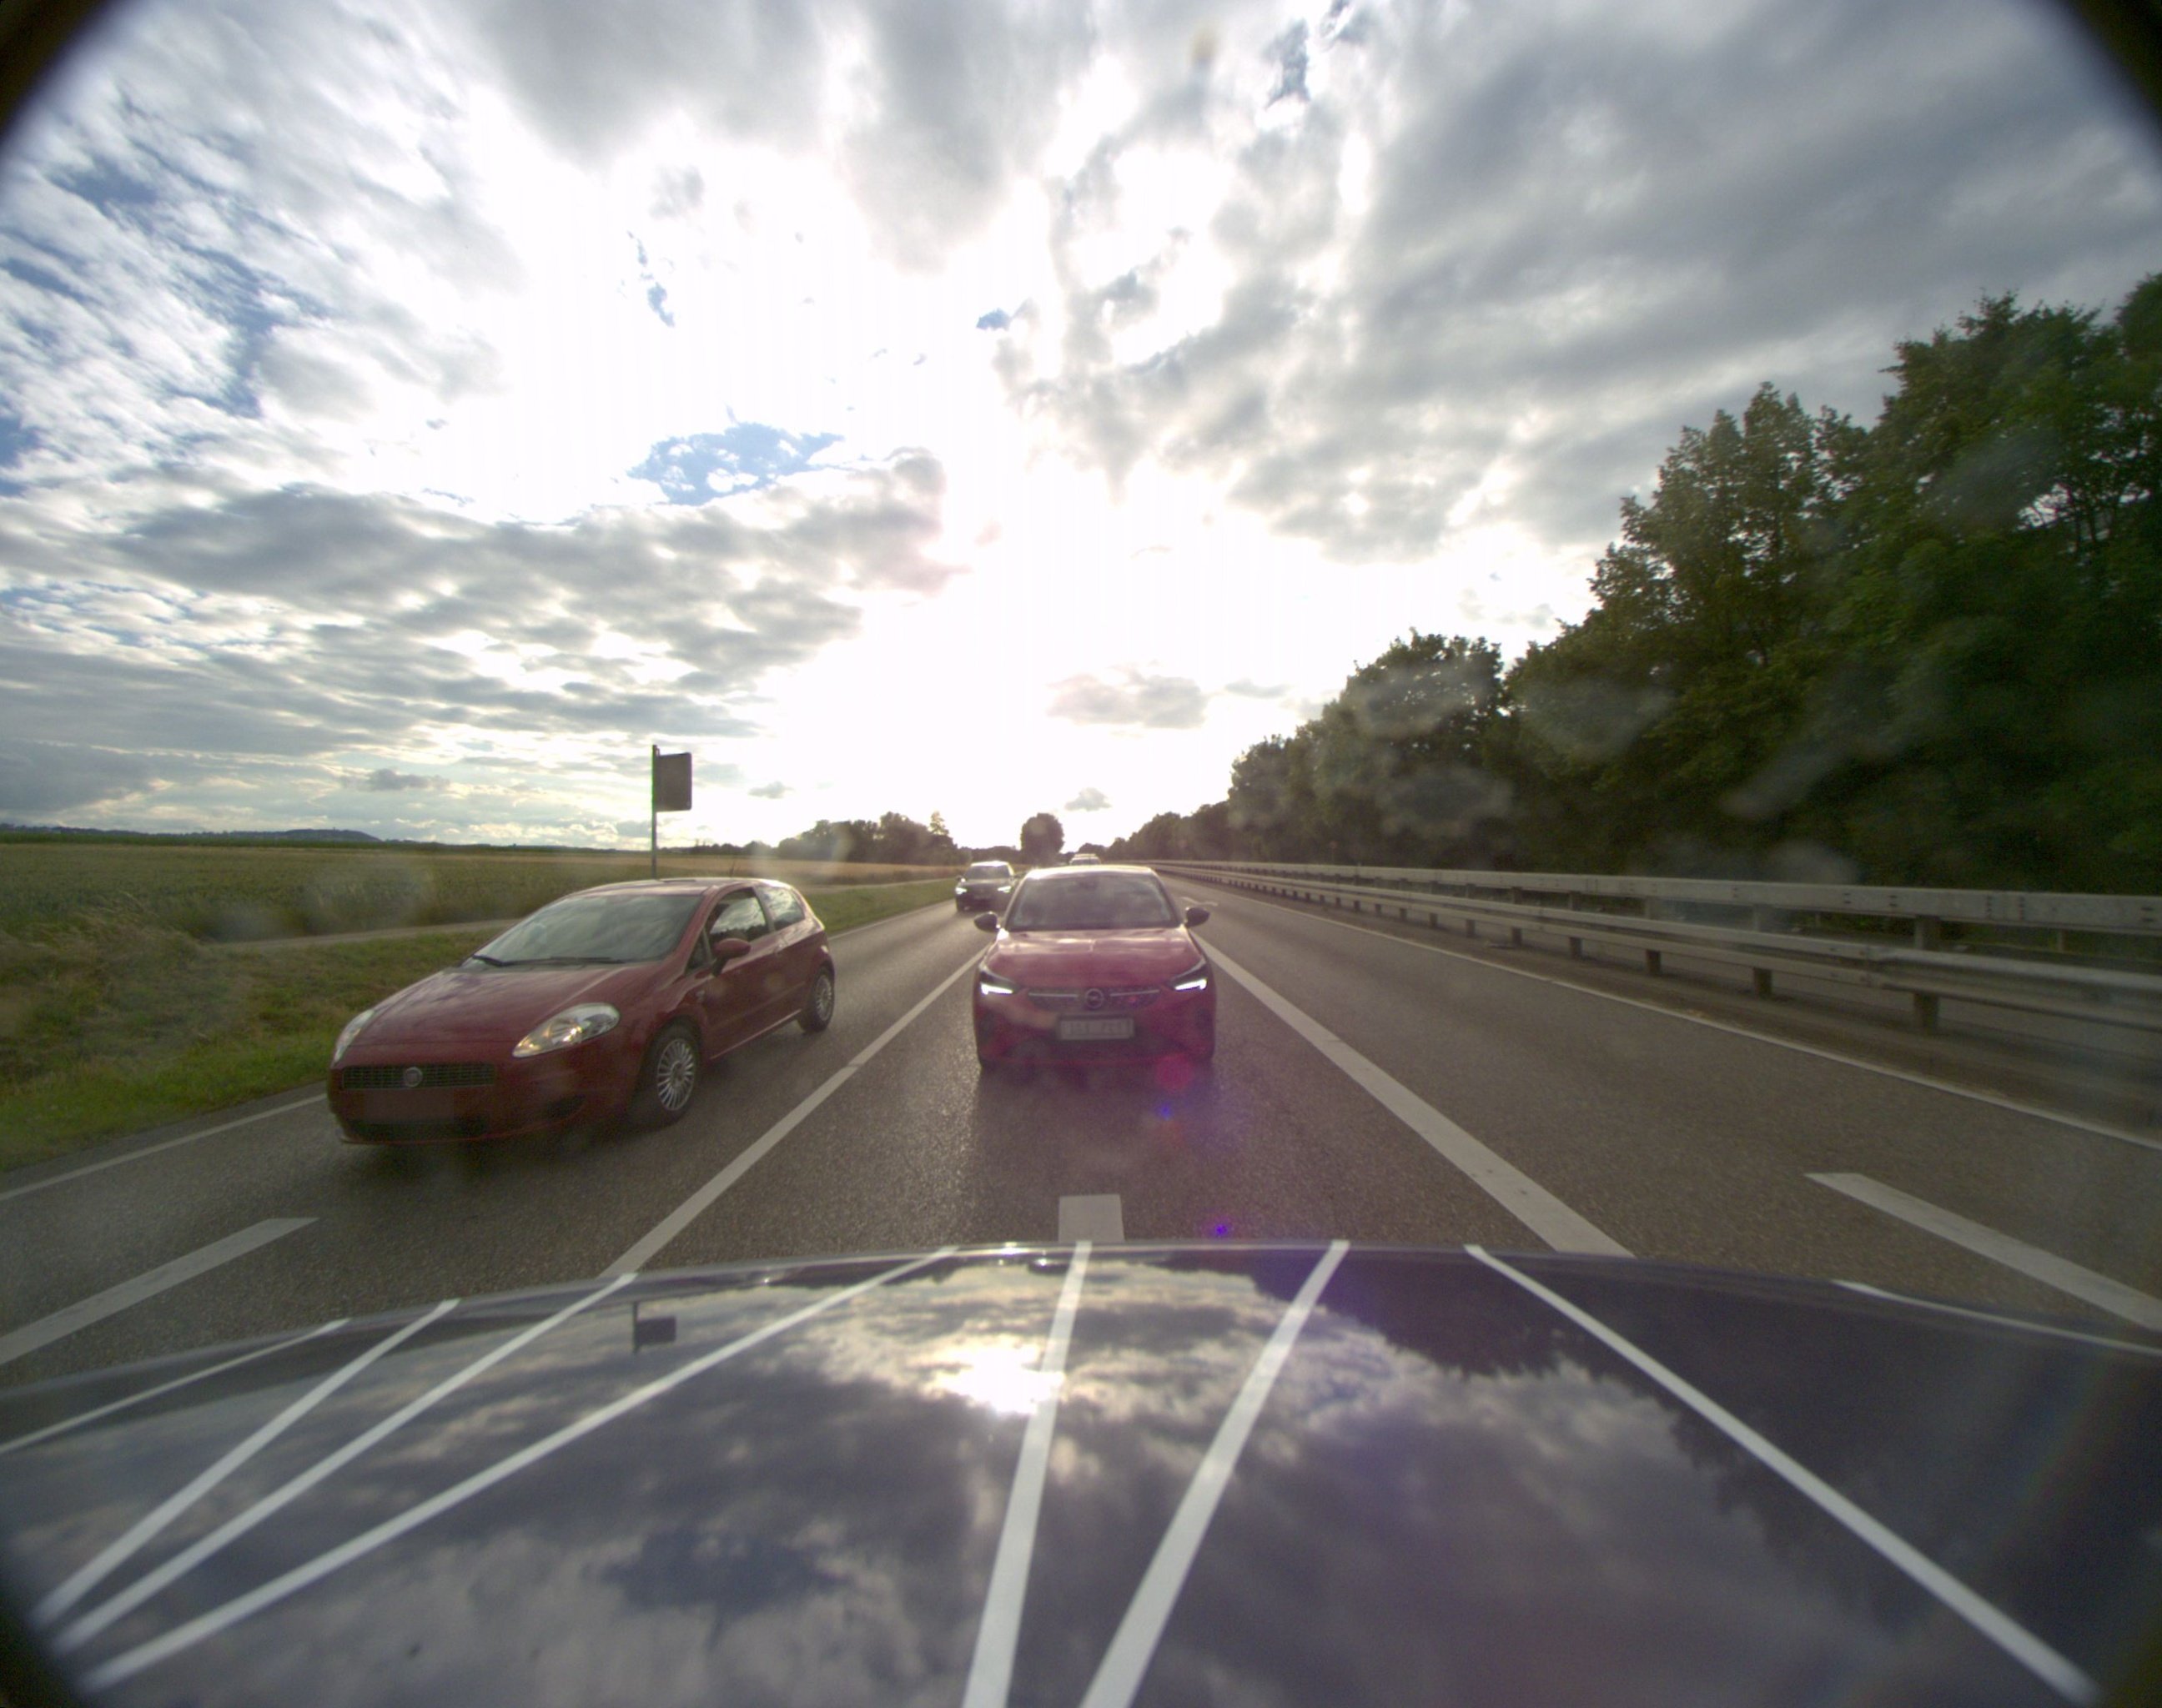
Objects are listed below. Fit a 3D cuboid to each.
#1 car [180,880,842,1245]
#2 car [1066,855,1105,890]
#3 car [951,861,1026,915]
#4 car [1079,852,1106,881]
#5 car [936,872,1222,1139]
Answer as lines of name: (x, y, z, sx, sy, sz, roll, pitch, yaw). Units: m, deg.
car: (-3.251, 1.042, 5.472, 1.712, 1.448, 3.908, -2, 1, 1)
car: (0.230, 0.859, 36.397, 1.712, 1.448, 4.061, -2, 1, 1)
car: (-2.858, 1.016, 24.348, 1.799, 1.448, 4.032, -2, 1, 1)
car: (0.774, 0.783, 50.263, 1.671, 1.730, 4.032, -2, 1, 1)
car: (0.018, 0.989, 6.741, 1.712, 1.448, 4.061, -2, 1, 1)
